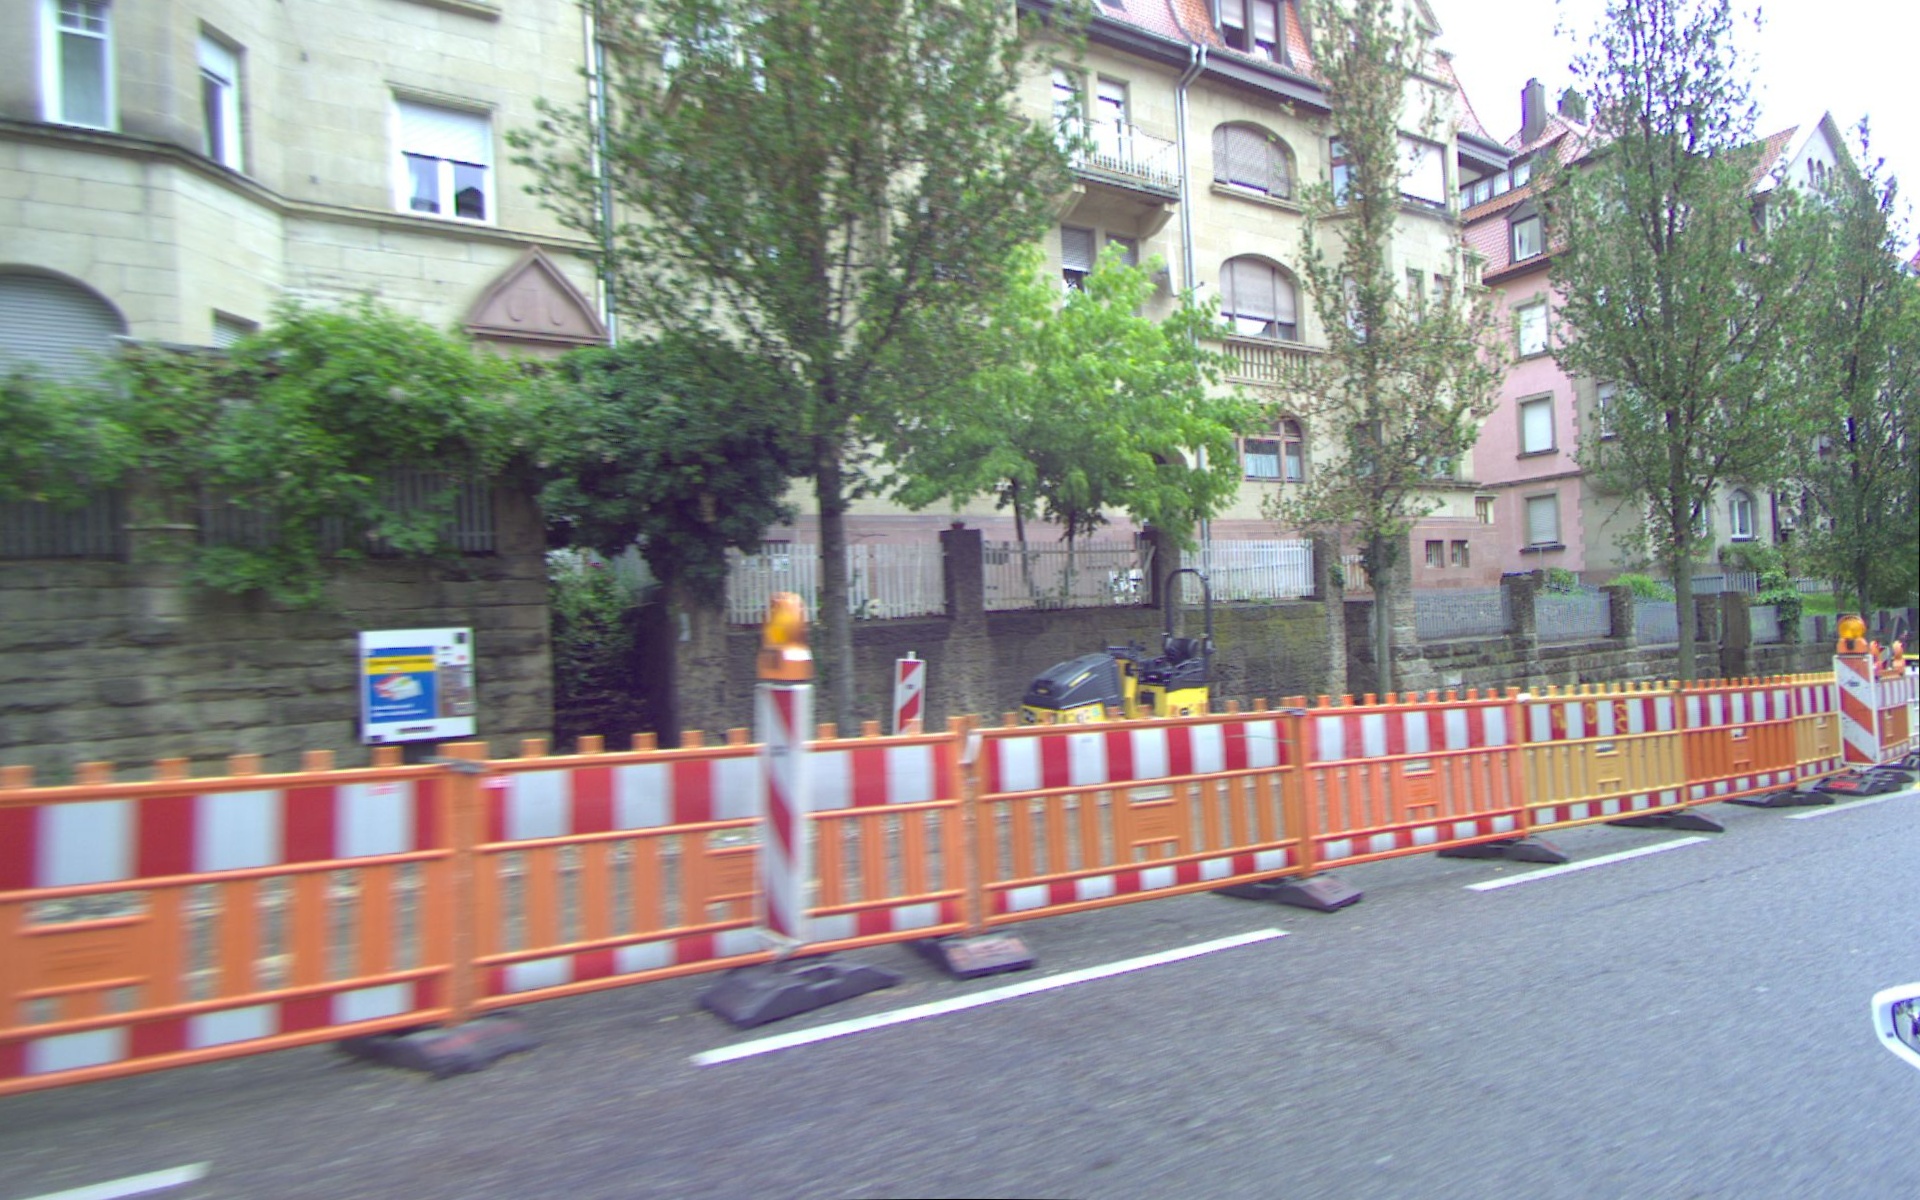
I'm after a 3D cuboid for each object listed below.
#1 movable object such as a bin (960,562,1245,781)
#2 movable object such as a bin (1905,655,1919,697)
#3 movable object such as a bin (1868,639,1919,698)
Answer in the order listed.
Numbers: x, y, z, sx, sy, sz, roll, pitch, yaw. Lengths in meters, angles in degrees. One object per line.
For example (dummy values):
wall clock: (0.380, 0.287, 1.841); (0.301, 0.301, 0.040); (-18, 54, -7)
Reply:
movable object such as a bin: (1.689, 0.799, 12.217); (2.778, 2.329, 1.987); (0, -2, -27)
movable object such as a bin: (21.773, 1.719, 22.583); (0.616, 0.920, 0.601); (0, 0, -29)
movable object such as a bin: (20.886, 1.507, 22.246); (0.845, 1.230, 0.941); (0, 0, -29)
